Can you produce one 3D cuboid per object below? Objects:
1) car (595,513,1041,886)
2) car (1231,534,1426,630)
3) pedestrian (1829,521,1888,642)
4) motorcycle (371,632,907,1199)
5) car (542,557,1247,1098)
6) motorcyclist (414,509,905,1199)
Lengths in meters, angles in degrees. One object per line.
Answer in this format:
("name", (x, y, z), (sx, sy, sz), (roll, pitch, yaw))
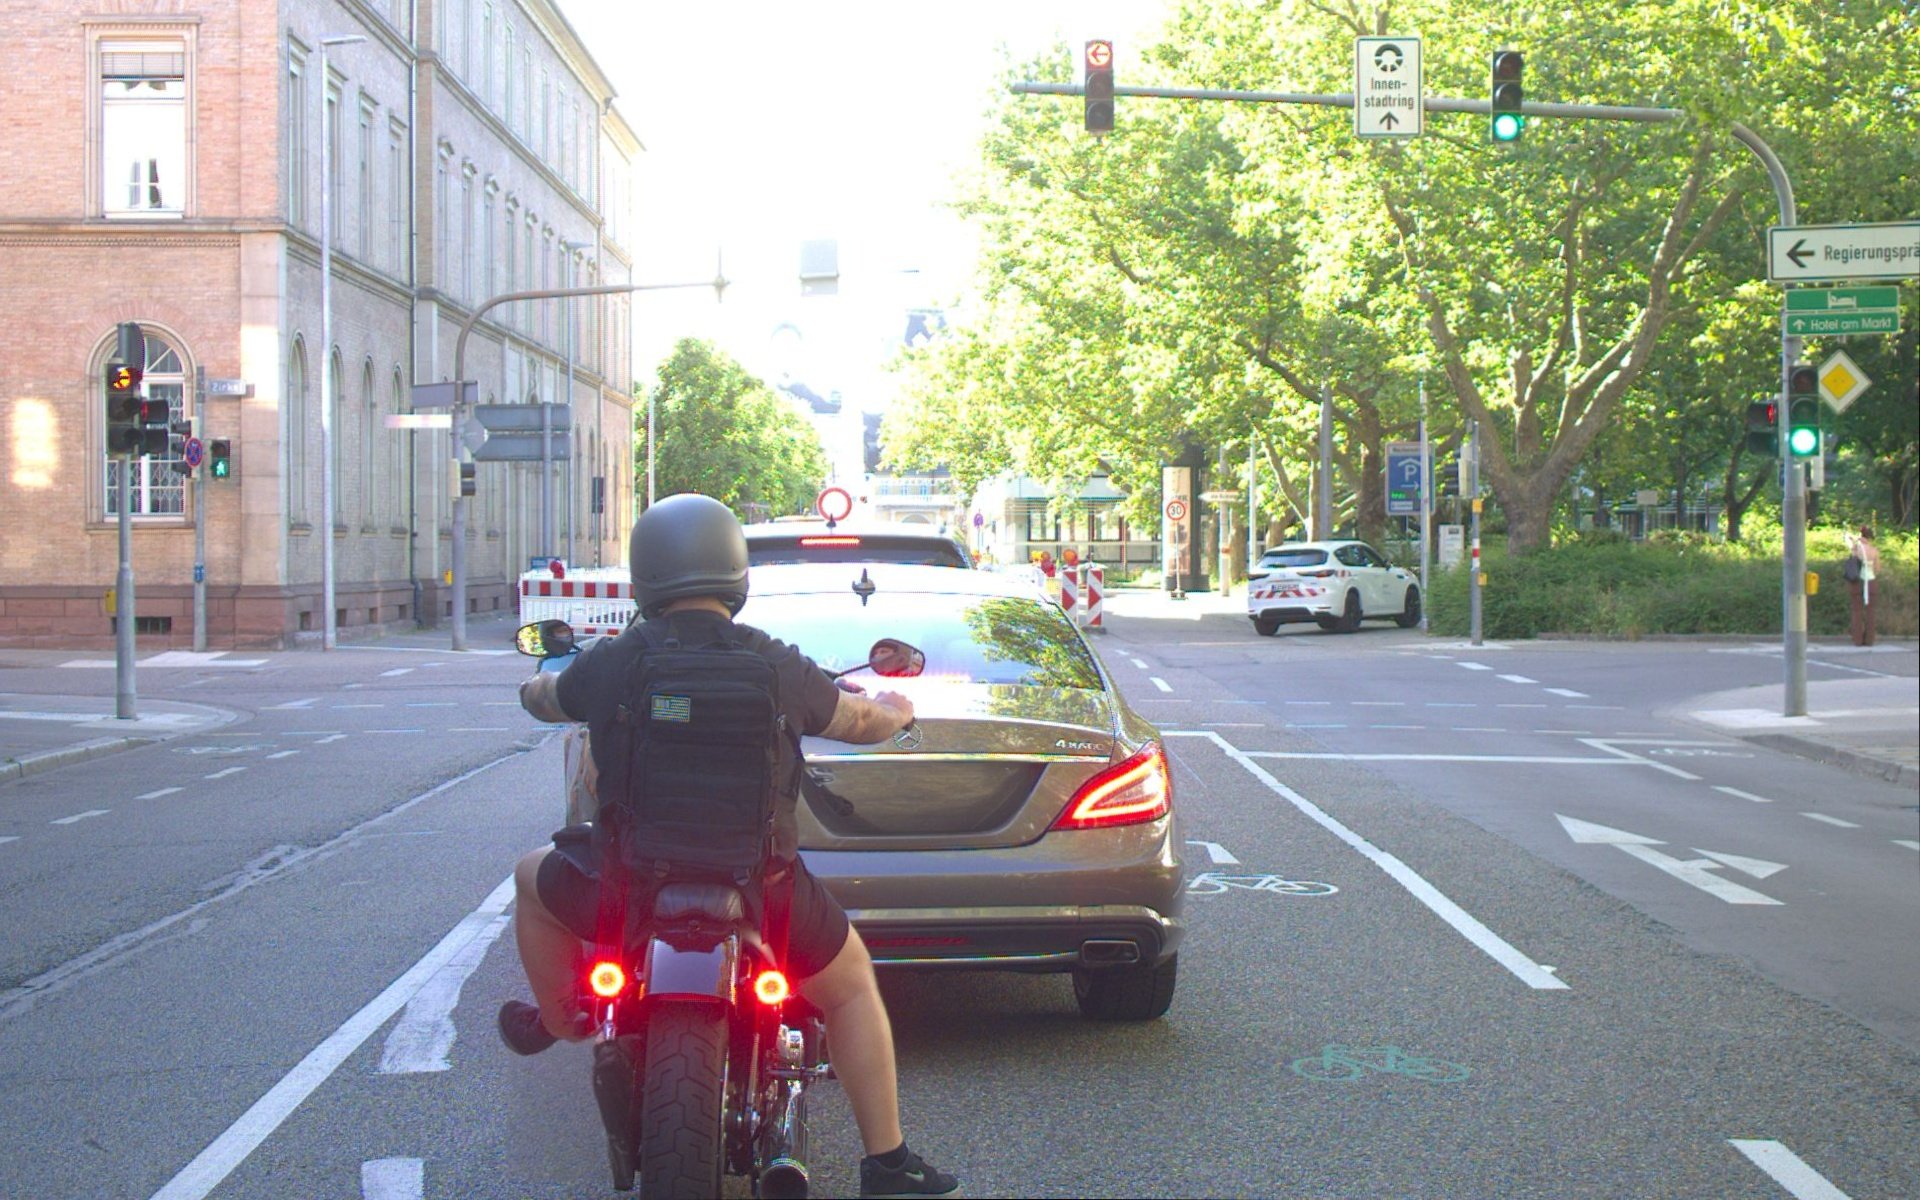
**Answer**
("car", (-0.666, 0.430, 17.555), (1.993, 1.660, 4.000), (1, 1, -1))
("car", (6.927, -0.349, 64.280), (1.946, 1.702, 4.475), (2, 1, 30))
("pedestrian", (13.224, -0.279, 50.609), (0.678, 1.766, 0.616), (1, 0, 29))
("motorcycle", (-0.612, 0.740, 7.575), (0.980, 1.271, 2.407), (0, 1, -1))
("car", (-0.432, 0.588, 11.633), (1.869, 1.439, 4.431), (0, 1, -8))
("motorcyclist", (-0.614, 0.592, 7.555), (0.980, 1.573, 1.248), (0, 1, -1))
